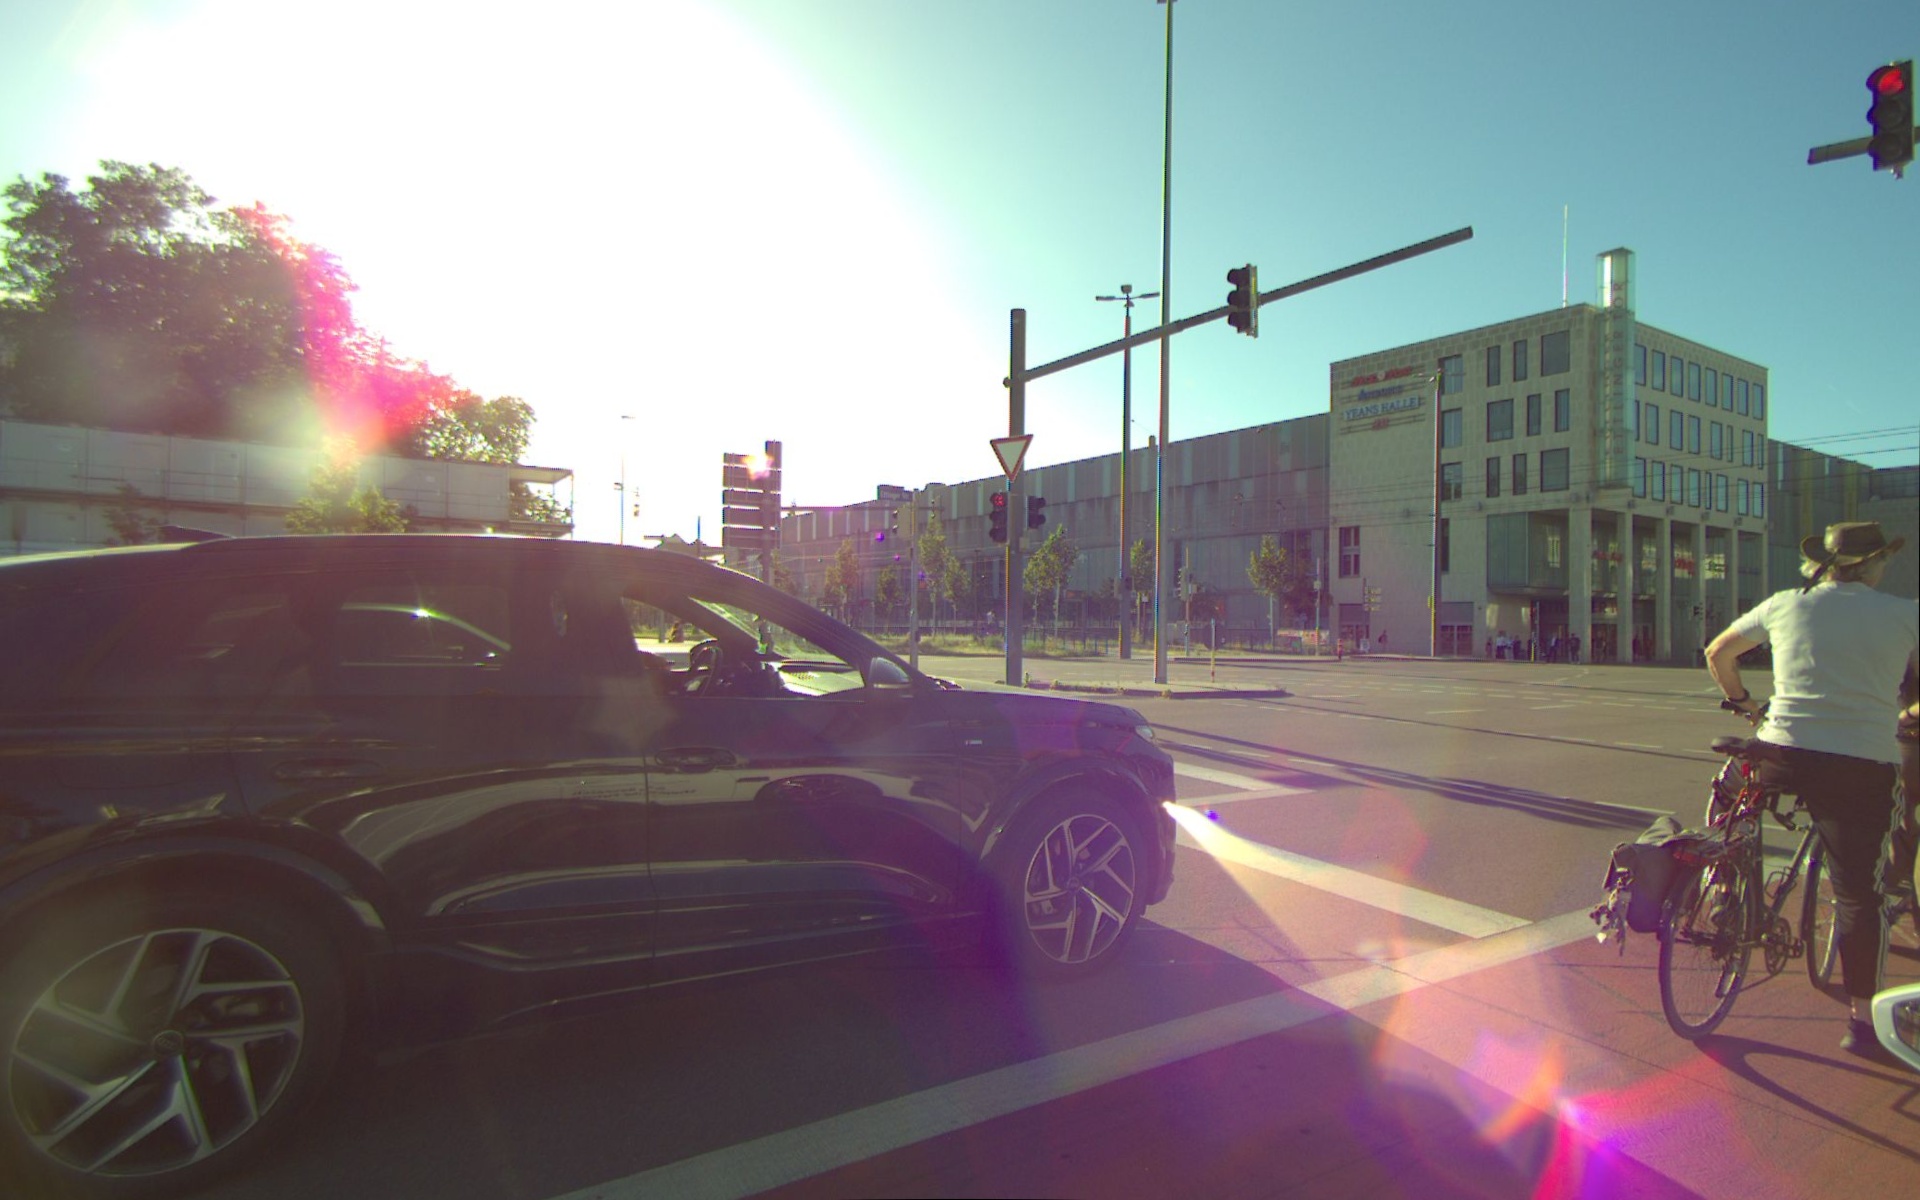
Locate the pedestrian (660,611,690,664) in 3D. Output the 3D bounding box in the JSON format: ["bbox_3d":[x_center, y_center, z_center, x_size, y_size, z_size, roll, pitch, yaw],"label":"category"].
[{"bbox_3d":[-9.063,1.177,31.944,0.736,1.632,0.716,2,0,-5],"label":"pedestrian"}]

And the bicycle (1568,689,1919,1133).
[{"bbox_3d":[3.092,0.949,3.639,1.868,1.162,0.735,1,-1,-30],"label":"bicycle"}]

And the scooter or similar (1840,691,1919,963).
[{"bbox_3d":[4.376,1.010,4.685,0.832,1.122,0.303,2,-1,-42],"label":"scooter or similar"}]

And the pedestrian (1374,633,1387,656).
[{"bbox_3d":[28.626,3.053,68.380,0.622,1.562,0.589,1,-1,-29],"label":"pedestrian"}]

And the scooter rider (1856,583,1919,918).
[{"bbox_3d":[4.658,0.701,4.758,0.445,1.550,0.548,1,-1,-38],"label":"scooter rider"}]

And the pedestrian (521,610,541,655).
[{"bbox_3d":[-15.833,1.183,37.042,0.565,1.632,0.564,2,0,-16],"label":"pedestrian"}]

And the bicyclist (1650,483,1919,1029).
[{"bbox_3d":[3.213,0.506,3.727,0.842,1.723,0.802,1,-1,-30],"label":"bicyclist"}]

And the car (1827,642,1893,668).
[{"bbox_3d":[49.711,3.006,55.479,3.975,1.375,1.668,1,-1,-31],"label":"car"}]

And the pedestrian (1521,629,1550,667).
[{"bbox_3d":[26.173,2.191,45.691,0.994,1.697,0.818,1,-1,-33],"label":"pedestrian"}]

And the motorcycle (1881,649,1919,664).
[{"bbox_3d":[70.804,4.214,75.213,1.106,1.006,2.582,2,0,-38],"label":"motorcycle"}]

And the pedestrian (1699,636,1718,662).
[{"bbox_3d":[48.488,3.201,65.101,0.614,1.660,0.778,1,-1,-8],"label":"pedestrian"}]

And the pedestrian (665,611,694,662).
[{"bbox_3d":[-9.108,1.179,32.671,0.736,1.632,0.716,2,0,-5],"label":"pedestrian"}]

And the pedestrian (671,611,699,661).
[{"bbox_3d":[-9.167,1.181,33.480,0.736,1.632,0.716,2,0,-5],"label":"pedestrian"}]

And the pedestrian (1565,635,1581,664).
[{"bbox_3d":[35.725,2.869,58.545,0.622,1.667,0.589,1,-1,-30],"label":"pedestrian"}]

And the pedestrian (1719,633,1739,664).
[{"bbox_3d":[43.064,2.718,56.264,0.612,1.710,0.697,1,-1,-29],"label":"pedestrian"}]

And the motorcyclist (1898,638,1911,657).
[{"bbox_3d":[70.894,3.572,75.400,0.657,1.424,0.623,2,0,-38],"label":"motorcyclist"}]

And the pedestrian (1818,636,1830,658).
[{"bbox_3d":[70.955,3.863,82.499,0.510,1.752,0.472,2,0,9],"label":"pedestrian"}]

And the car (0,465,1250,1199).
[{"bbox_3d":[-1.269,0.594,4.046,4.612,1.729,2.154,1,0,-32],"label":"car"}]

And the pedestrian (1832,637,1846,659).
[{"bbox_3d":[70.652,3.845,80.754,0.615,1.752,0.472,2,0,4],"label":"pedestrian"}]

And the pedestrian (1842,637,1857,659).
[{"bbox_3d":[71.446,3.869,80.670,0.681,1.752,0.472,2,0,9],"label":"pedestrian"}]
